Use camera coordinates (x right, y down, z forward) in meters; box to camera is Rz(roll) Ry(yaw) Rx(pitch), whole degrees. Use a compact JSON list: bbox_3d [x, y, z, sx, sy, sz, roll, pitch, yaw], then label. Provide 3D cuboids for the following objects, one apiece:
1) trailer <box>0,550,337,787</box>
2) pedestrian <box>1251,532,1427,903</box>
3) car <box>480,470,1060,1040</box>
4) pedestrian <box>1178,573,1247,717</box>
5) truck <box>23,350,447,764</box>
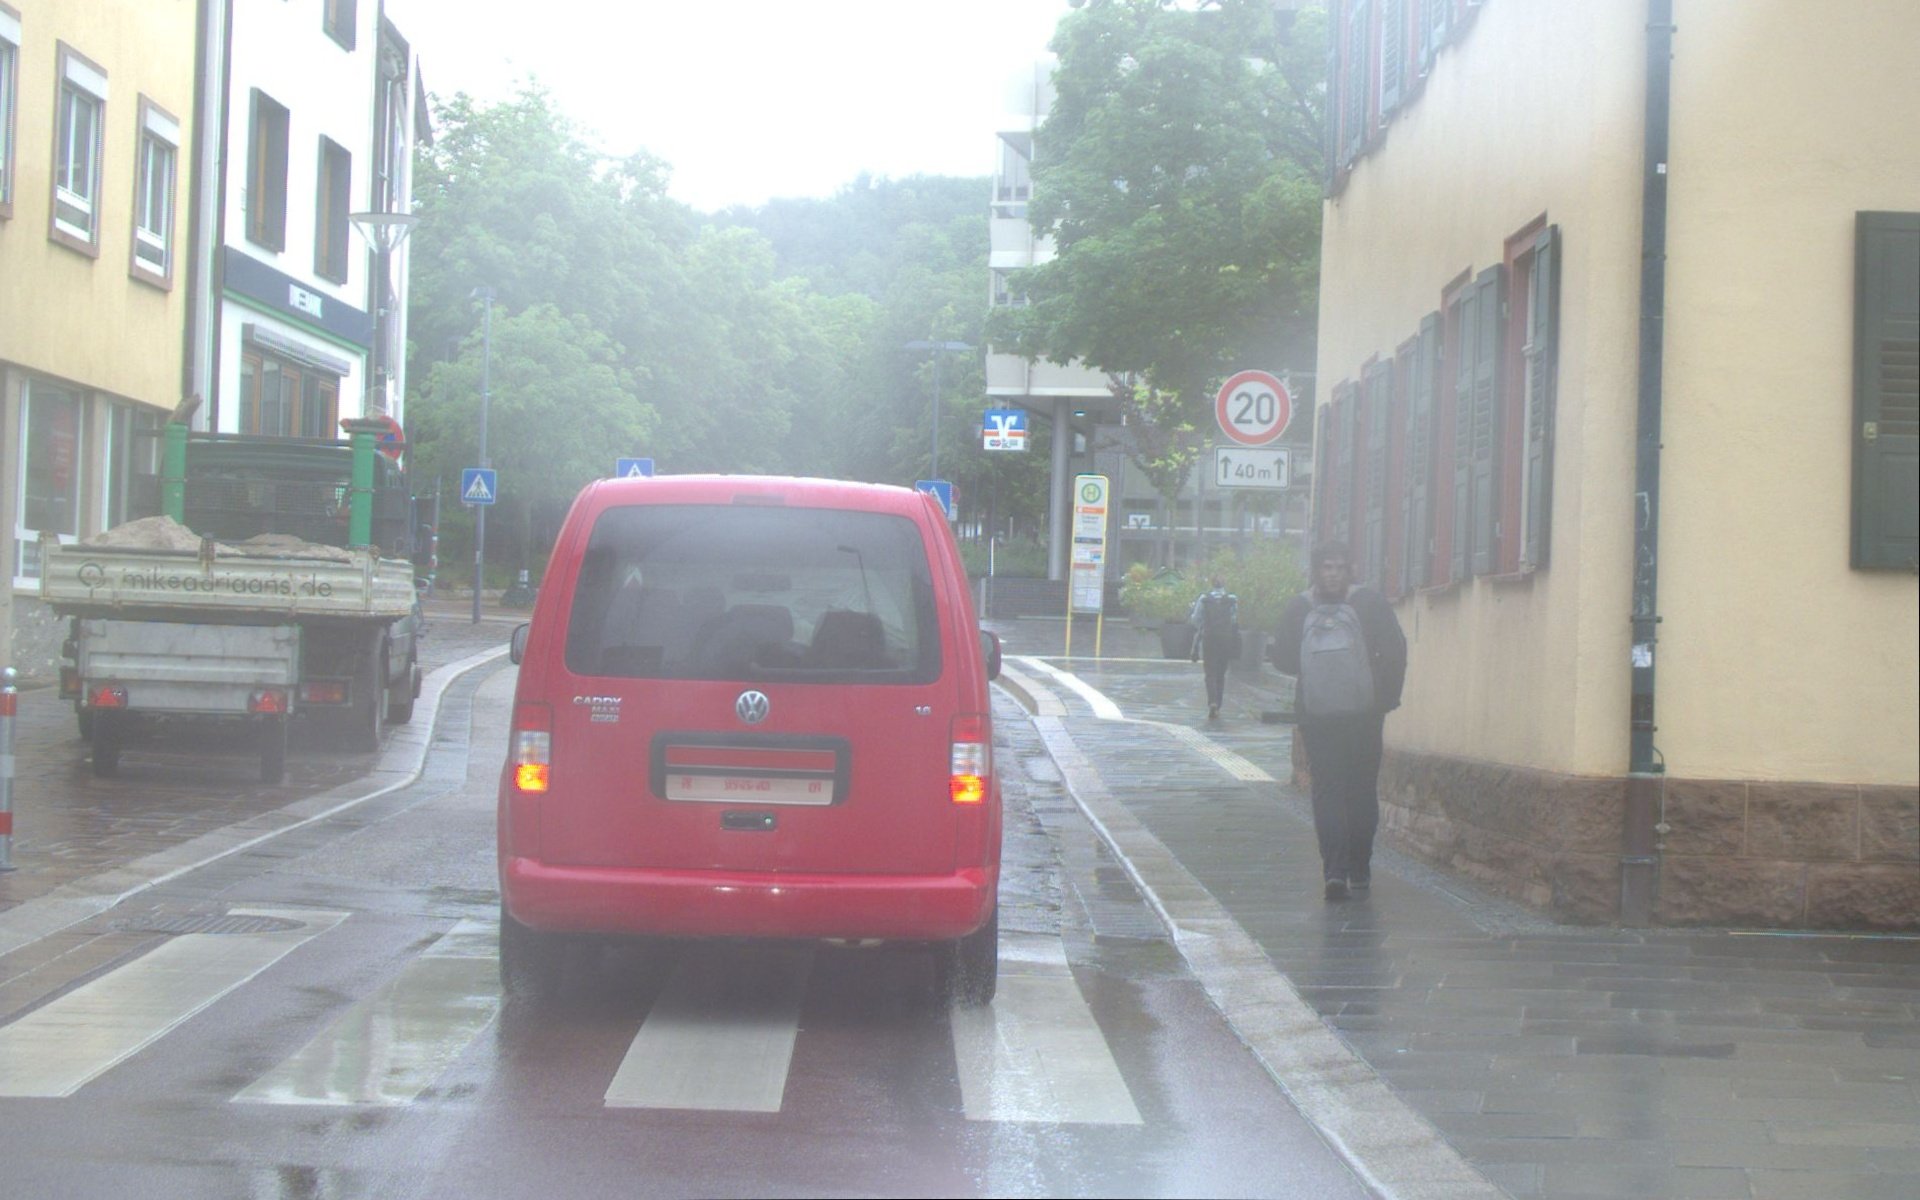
[{"bbox_3d":[-5.001,0.388,21.963,1.727,1.342,3.161,1,1,-5],"label":"trailer"},{"bbox_3d":[1.779,0.534,16.245,0.714,1.687,0.868,1,1,2],"label":"pedestrian"},{"bbox_3d":[-0.762,0.486,13.161,1.862,1.824,4.186,0,0,-4],"label":"car"},{"bbox_3d":[2.862,0.508,39.060,0.728,1.611,0.694,1,0,2],"label":"pedestrian"},{"bbox_3d":[-5.443,-0.369,26.797,2.473,2.785,6.601,1,1,-5],"label":"truck"}]
